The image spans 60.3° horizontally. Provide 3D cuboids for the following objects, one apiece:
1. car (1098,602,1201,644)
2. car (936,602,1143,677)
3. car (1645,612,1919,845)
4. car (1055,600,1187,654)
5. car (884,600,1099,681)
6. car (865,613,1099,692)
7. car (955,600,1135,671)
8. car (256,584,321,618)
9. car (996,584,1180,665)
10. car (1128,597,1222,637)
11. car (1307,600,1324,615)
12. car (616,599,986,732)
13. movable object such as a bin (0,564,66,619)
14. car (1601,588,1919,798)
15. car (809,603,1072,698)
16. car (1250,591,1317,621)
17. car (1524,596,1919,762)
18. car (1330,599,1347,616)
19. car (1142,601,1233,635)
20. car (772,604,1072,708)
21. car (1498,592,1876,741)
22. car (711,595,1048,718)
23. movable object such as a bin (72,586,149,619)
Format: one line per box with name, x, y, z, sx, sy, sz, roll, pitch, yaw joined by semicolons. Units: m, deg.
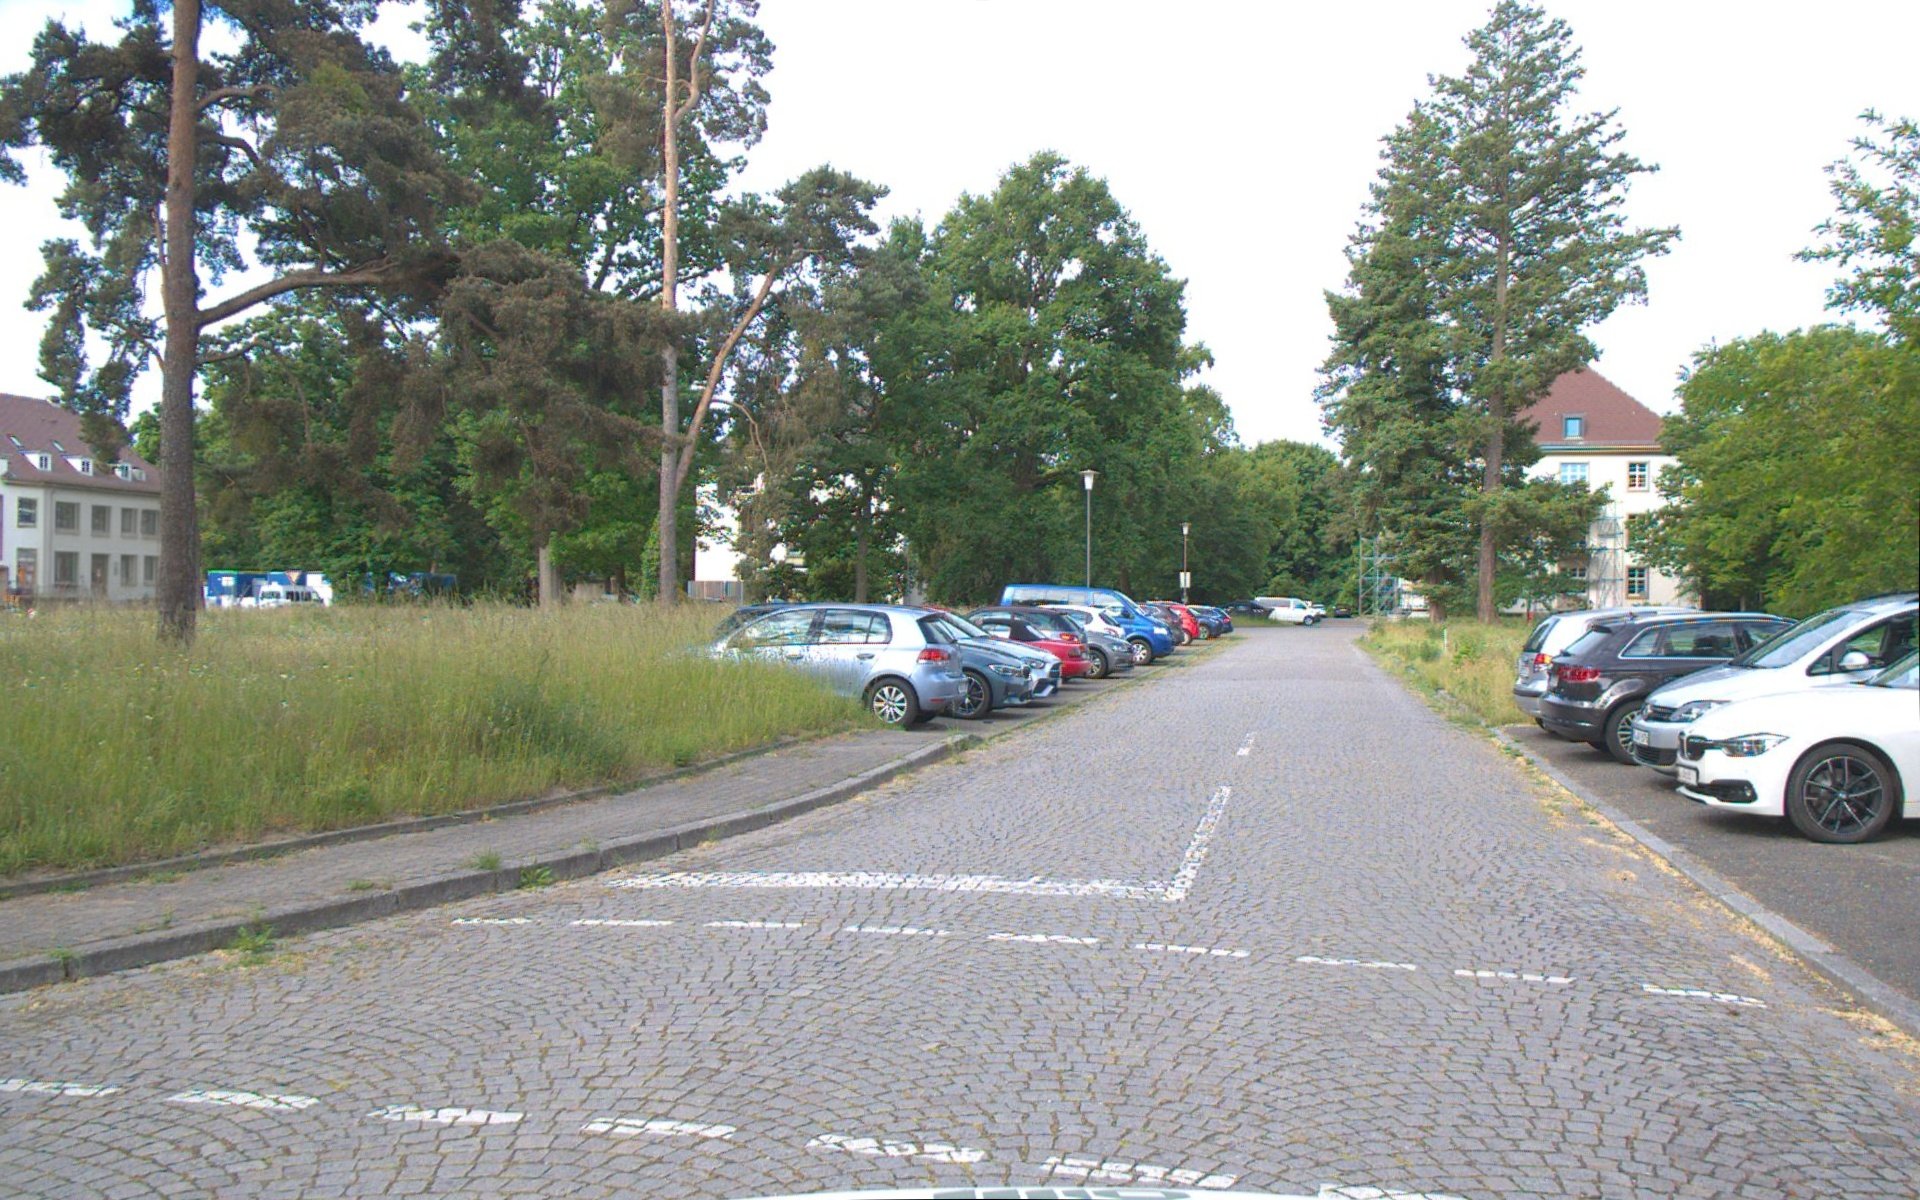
car;7.194;0.855;62.723;3.734;1.515;1.789;1;0;11
car;1.743;0.825;35.893;4.213;1.506;1.732;1;0;14
car;7.342;0.799;11.453;4.452;1.450;1.828;-2;-1;9
car;5.136;0.826;52.605;3.981;1.602;1.956;1;0;11
car;0.659;0.781;33.176;4.001;1.506;1.756;1;0;13
car;0.436;0.930;30.478;4.043;1.305;1.765;1;0;12
car;2.007;0.807;38.771;3.920;1.528;1.844;1;0;14
car;-45.593;0.088;112.408;2.017;2.132;4.348;-1;-2;12
car;3.423;0.617;43.892;4.609;2.015;2.040;1;0;12
car;9.474;0.730;72.726;3.984;1.632;1.789;1;0;11
car;40.506;0.888;188.587;1.752;1.665;4.064;0;-2;11
car;-1.947;0.772;20.749;4.237;1.496;1.828;1;-1;14
movable object such as a bin;-66.000;-0.560;116.757;6.000;3.705;2.137;0;-2;30
car;7.884;0.710;13.975;4.237;1.602;1.828;-2;-1;7
car;-0.300;0.821;28.198;4.163;1.480;1.857;1;0;12
car;24.309;0.485;124.470;4.872;2.109;2.053;1;-1;11
car;8.088;0.765;16.682;4.273;1.430;1.798;-2;0;11
car;43.082;0.860;188.353;1.752;1.750;4.064;0;-2;11
car;10.638;0.844;77.283;3.985;1.493;1.627;1;0;16
car;-0.552;0.841;25.887;4.342;1.481;1.951;1;-1;13
car;8.389;0.754;19.384;3.691;1.505;1.744;-2;0;9
car;-1.072;0.763;23.250;4.405;1.564;1.872;1;-1;9
movable object such as a bin;-60.099;0.200;116.978;4.412;2.293;2.381;0;-2;17
